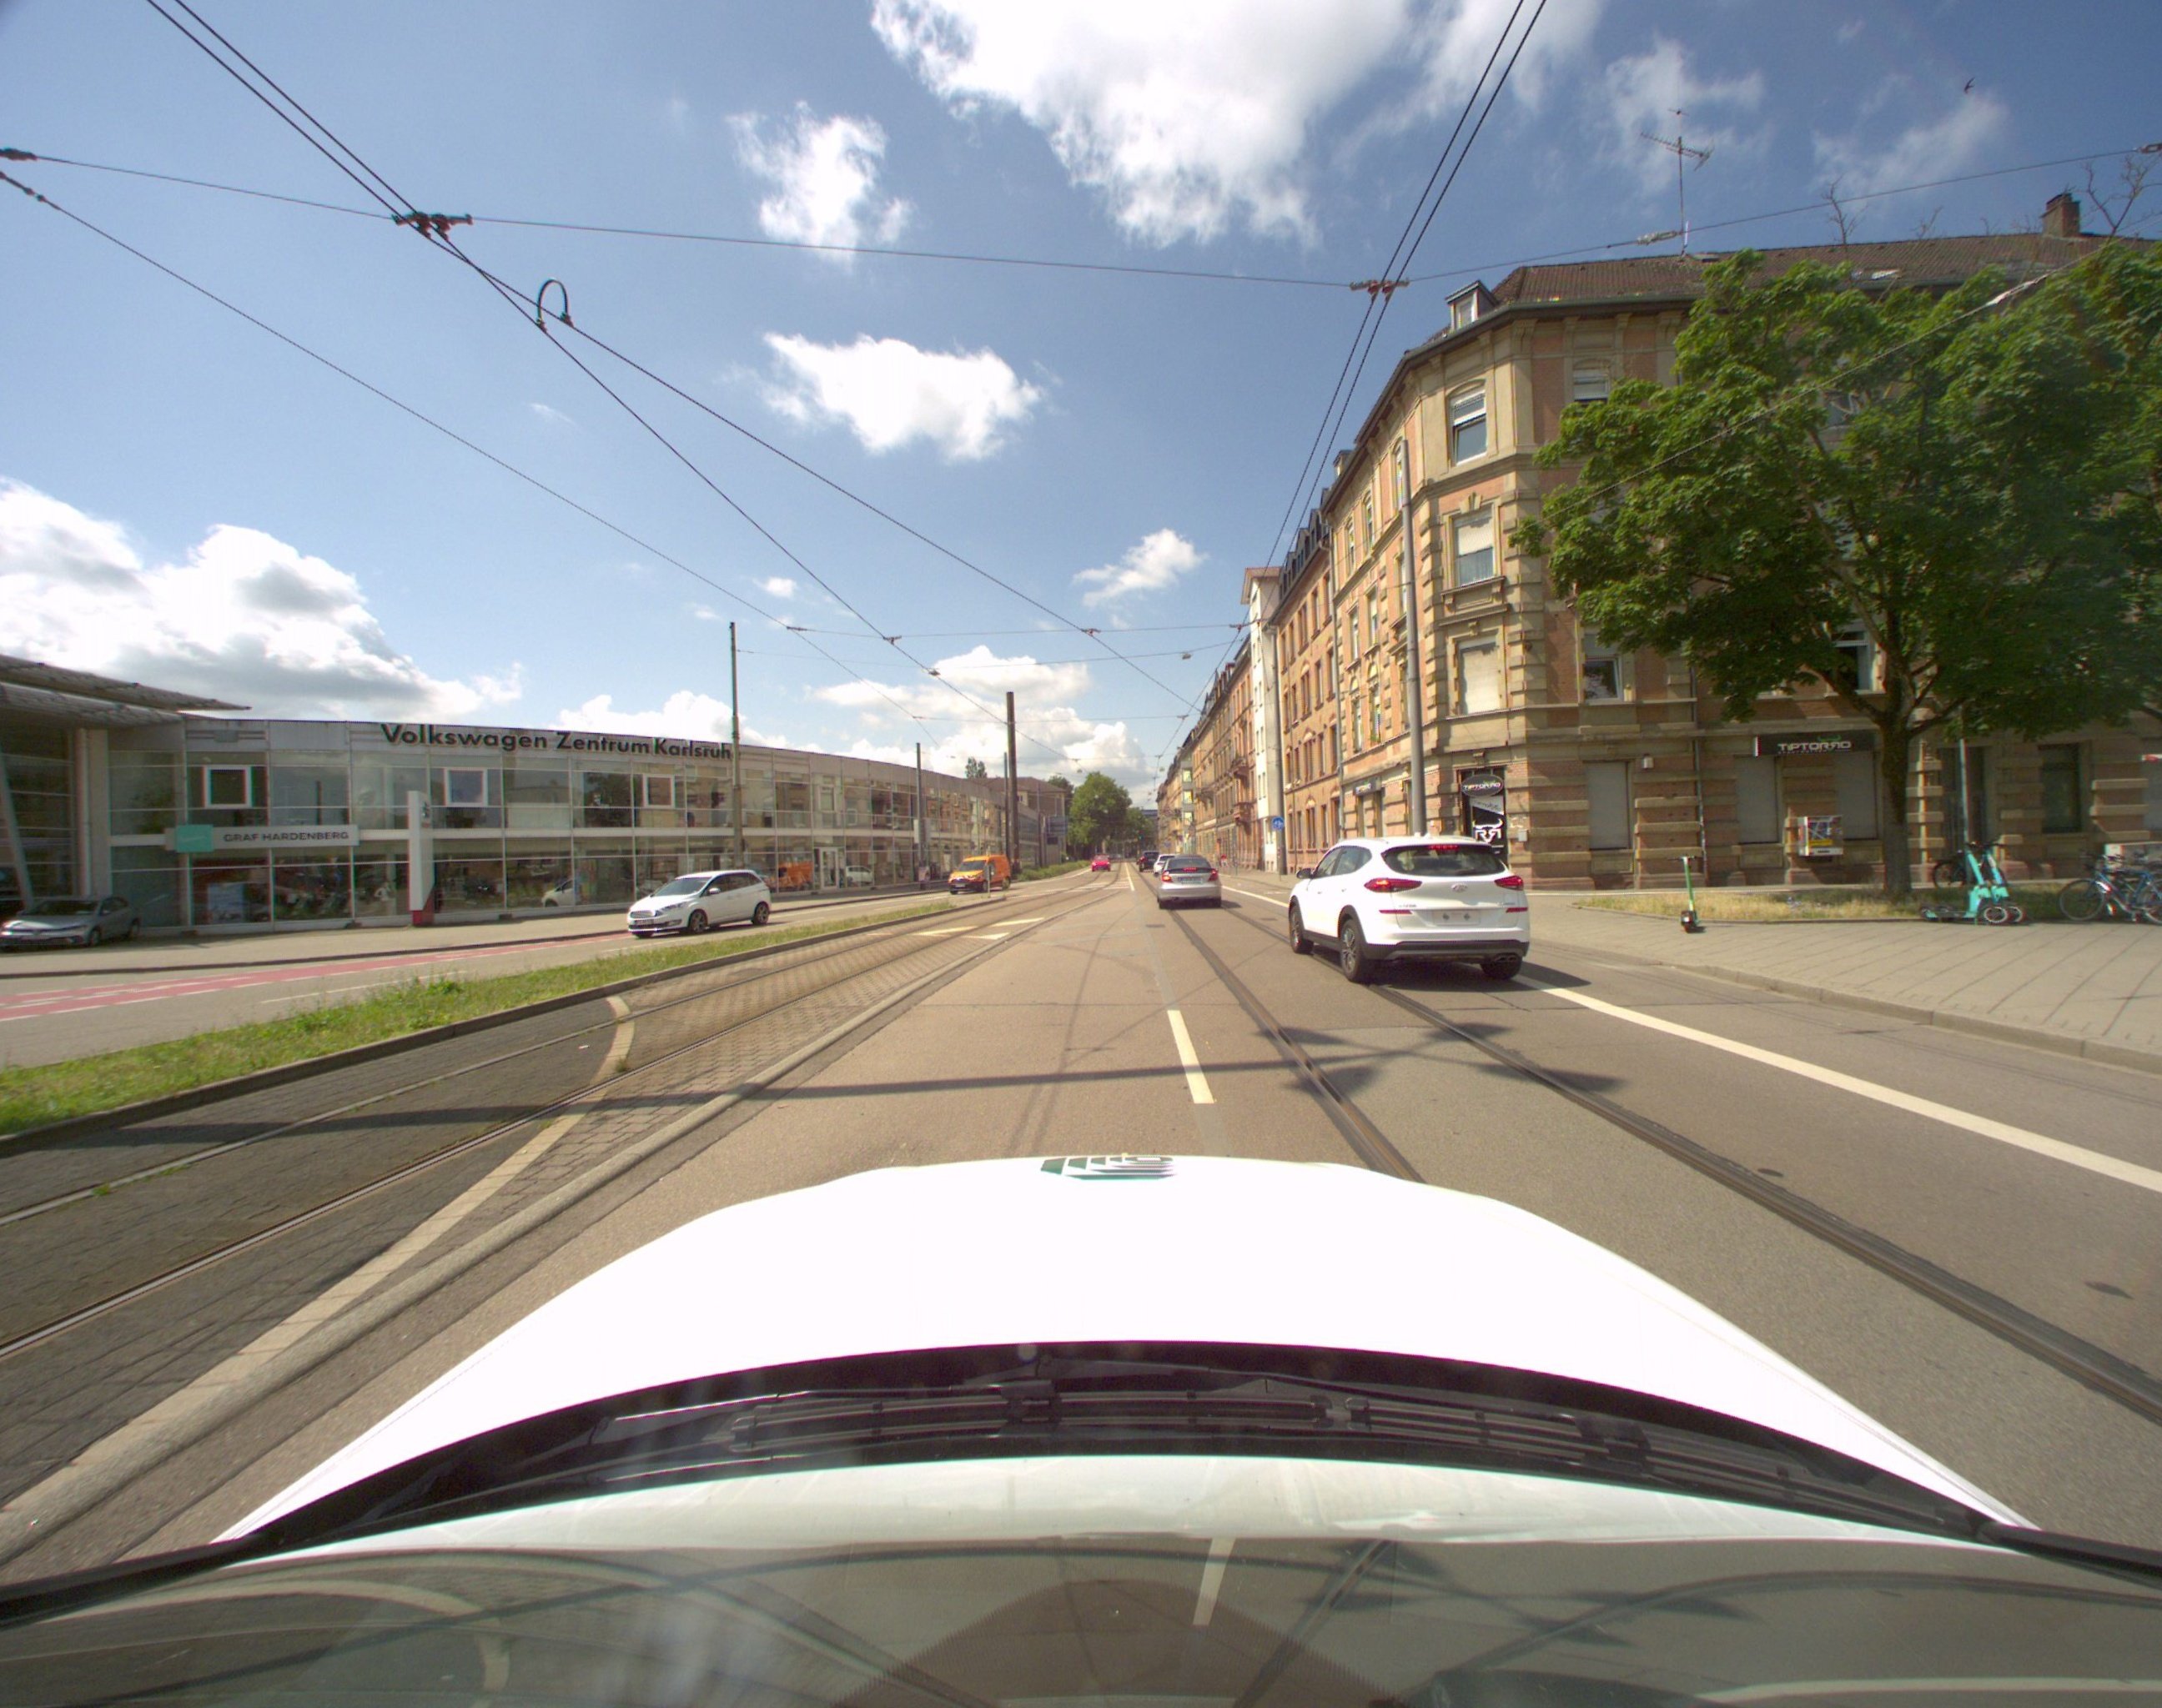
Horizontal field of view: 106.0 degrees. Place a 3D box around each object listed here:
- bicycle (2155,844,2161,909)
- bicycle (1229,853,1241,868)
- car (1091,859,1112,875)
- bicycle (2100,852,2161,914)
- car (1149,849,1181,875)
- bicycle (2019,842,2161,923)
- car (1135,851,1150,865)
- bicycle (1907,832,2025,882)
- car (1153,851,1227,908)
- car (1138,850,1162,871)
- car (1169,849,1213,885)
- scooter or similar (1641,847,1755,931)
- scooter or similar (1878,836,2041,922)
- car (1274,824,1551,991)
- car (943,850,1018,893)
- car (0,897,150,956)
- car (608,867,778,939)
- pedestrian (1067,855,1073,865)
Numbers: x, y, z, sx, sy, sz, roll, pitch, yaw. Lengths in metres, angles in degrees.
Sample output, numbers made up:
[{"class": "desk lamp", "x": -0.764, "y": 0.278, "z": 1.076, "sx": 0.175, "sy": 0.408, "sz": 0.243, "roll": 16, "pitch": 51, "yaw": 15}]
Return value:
[{"class": "bicycle", "x": 17.926, "y": 0.342, "z": 12.049, "sx": 0.788, "sy": 1.070, "sz": 2.577, "roll": -3, "pitch": -1, "yaw": 6}, {"class": "bicycle", "x": 12.537, "y": 0.505, "z": 66.354, "sx": 0.584, "sy": 1.178, "sz": 2.207, "roll": -3, "pitch": 0, "yaw": 4}, {"class": "car", "x": 1.941, "y": 1.183, "z": 75.769, "sx": 1.694, "sy": 1.428, "sz": 3.906, "roll": -2, "pitch": -1, "yaw": 4}, {"class": "bicycle", "x": 16.677, "y": 0.456, "z": 11.896, "sx": 0.837, "sy": 0.879, "sz": 2.292, "roll": -3, "pitch": 1, "yaw": 6}, {"class": "car", "x": 5.363, "y": 0.508, "z": 52.336, "sx": 1.807, "sy": 1.524, "sz": 3.958, "roll": -2, "pitch": 0, "yaw": 3}, {"class": "bicycle", "x": 15.503, "y": 0.389, "z": 11.913, "sx": 1.019, "sy": 1.081, "sz": 2.267, "roll": -3, "pitch": -1, "yaw": 6}, {"class": "car", "x": 8.736, "y": 0.607, "z": 115.840, "sx": 1.986, "sy": 1.860, "sz": 4.001, "roll": -2, "pitch": 0, "yaw": 1}, {"class": "bicycle", "x": 19.876, "y": 0.075, "z": 18.320, "sx": 1.636, "sy": 1.050, "sz": 0.767, "roll": -2, "pitch": 0, "yaw": 10}, {"class": "car", "x": 3.033, "y": 0.682, "z": 23.416, "sx": 1.806, "sy": 1.420, "sz": 4.192, "roll": -2, "pitch": -1, "yaw": 4}, {"class": "car", "x": 5.811, "y": 0.573, "z": 68.536, "sx": 1.807, "sy": 1.662, "sz": 4.088, "roll": -3, "pitch": -1, "yaw": 3}, {"class": "car", "x": 5.080, "y": 0.575, "z": 38.044, "sx": 1.806, "sy": 1.524, "sz": 4.091, "roll": -2, "pitch": 0, "yaw": 5}, {"class": "scooter or similar", "x": 9.412, "y": 0.520, "z": 12.473, "sx": 0.942, "sy": 1.179, "sz": 1.089, "roll": -3, "pitch": -1, "yaw": 9}, {"class": "scooter or similar", "x": 13.463, "y": 0.374, "z": 12.544, "sx": 0.946, "sy": 1.203, "sz": 1.388, "roll": -3, "pitch": -1, "yaw": -4}, {"class": "car", "x": 3.895, "y": 0.547, "z": 10.447, "sx": 1.846, "sy": 1.634, "sz": 4.181, "roll": -2, "pitch": 0, "yaw": 1}, {"class": "car", "x": -4.897, "y": 0.822, "z": 40.346, "sx": 1.896, "sy": 1.865, "sz": 4.388, "roll": -3, "pitch": 0, "yaw": 18}, {"class": "car", "x": -30.222, "y": 2.102, "z": 24.511, "sx": 1.842, "sy": 1.447, "sz": 3.906, "roll": -2, "pitch": 0, "yaw": -33}, {"class": "car", "x": -10.465, "y": 1.269, "z": 22.402, "sx": 1.755, "sy": 1.604, "sz": 4.508, "roll": -3, "pitch": 0, "yaw": 12}, {"class": "pedestrian", "x": -2.170, "y": 1.168, "z": 158.701, "sx": 0.876, "sy": 1.865, "sz": 1.082, "roll": -3, "pitch": -1, "yaw": 3}]
